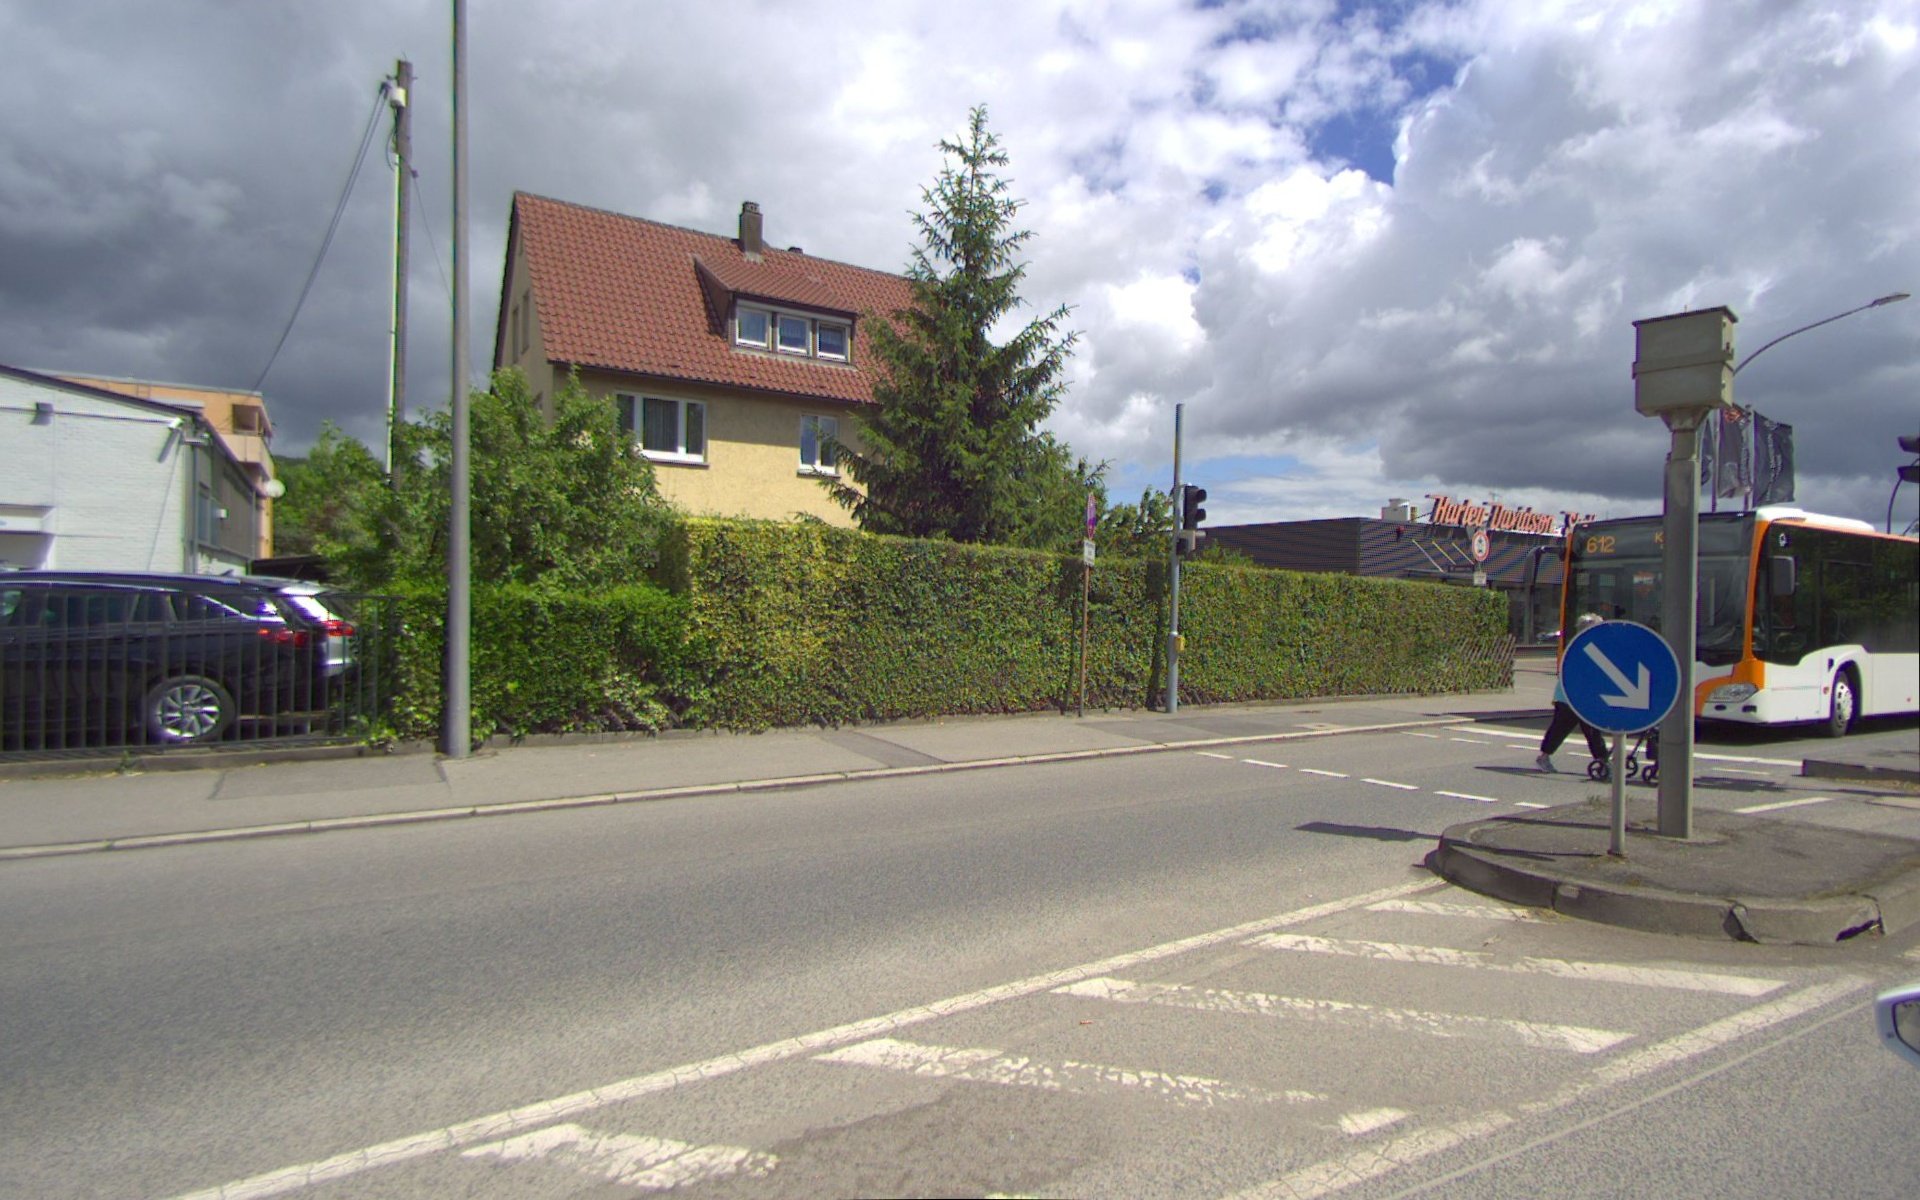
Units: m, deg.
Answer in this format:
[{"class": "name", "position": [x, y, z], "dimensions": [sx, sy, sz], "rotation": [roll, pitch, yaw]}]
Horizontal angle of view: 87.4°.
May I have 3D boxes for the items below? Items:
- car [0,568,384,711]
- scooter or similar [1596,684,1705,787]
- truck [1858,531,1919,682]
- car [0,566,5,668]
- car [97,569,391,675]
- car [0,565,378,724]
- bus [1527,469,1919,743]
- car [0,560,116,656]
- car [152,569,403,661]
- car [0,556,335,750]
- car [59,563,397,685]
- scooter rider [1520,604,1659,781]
[{"class": "car", "position": [-10.004, 0.495, 13.355], "dimensions": [3.959, 1.639, 1.765], "rotation": [1, -1, -34]}, {"class": "scooter or similar", "position": [6.332, 1.223, 9.215], "dimensions": [0.652, 0.843, 0.608], "rotation": [1, 0, -31]}, {"class": "truck", "position": [30.095, 0.295, 30.513], "dimensions": [9.068, 4.186, 2.410], "rotation": [2, 2, -38]}, {"class": "car", "position": [-16.604, 0.238, 14.423], "dimensions": [3.963, 1.639, 1.763], "rotation": [1, -1, -37]}, {"class": "car", "position": [-12.275, 0.384, 17.442], "dimensions": [3.963, 1.639, 1.763], "rotation": [1, -1, -37]}, {"class": "car", "position": [-8.962, 0.443, 11.120], "dimensions": [4.224, 1.527, 2.140], "rotation": [1, 0, -35]}, {"class": "bus", "position": [14.046, 0.242, 16.413], "dimensions": [11.982, 3.309, 2.764], "rotation": [2, -1, -31]}, {"class": "car", "position": [-17.398, 0.127, 17.526], "dimensions": [3.963, 1.639, 1.763], "rotation": [1, -1, -37]}, {"class": "car", "position": [-13.419, 0.311, 19.918], "dimensions": [3.963, 1.639, 1.763], "rotation": [1, -1, -37]}, {"class": "car", "position": [-8.060, 0.421, 8.876], "dimensions": [4.224, 1.527, 2.140], "rotation": [1, -1, -35]}, {"class": "car", "position": [-10.971, 0.368, 15.394], "dimensions": [3.959, 1.639, 1.765], "rotation": [1, -1, -34]}, {"class": "scooter rider", "position": [6.072, 0.848, 9.705], "dimensions": [0.787, 1.611, 0.874], "rotation": [1, -1, -31]}]
